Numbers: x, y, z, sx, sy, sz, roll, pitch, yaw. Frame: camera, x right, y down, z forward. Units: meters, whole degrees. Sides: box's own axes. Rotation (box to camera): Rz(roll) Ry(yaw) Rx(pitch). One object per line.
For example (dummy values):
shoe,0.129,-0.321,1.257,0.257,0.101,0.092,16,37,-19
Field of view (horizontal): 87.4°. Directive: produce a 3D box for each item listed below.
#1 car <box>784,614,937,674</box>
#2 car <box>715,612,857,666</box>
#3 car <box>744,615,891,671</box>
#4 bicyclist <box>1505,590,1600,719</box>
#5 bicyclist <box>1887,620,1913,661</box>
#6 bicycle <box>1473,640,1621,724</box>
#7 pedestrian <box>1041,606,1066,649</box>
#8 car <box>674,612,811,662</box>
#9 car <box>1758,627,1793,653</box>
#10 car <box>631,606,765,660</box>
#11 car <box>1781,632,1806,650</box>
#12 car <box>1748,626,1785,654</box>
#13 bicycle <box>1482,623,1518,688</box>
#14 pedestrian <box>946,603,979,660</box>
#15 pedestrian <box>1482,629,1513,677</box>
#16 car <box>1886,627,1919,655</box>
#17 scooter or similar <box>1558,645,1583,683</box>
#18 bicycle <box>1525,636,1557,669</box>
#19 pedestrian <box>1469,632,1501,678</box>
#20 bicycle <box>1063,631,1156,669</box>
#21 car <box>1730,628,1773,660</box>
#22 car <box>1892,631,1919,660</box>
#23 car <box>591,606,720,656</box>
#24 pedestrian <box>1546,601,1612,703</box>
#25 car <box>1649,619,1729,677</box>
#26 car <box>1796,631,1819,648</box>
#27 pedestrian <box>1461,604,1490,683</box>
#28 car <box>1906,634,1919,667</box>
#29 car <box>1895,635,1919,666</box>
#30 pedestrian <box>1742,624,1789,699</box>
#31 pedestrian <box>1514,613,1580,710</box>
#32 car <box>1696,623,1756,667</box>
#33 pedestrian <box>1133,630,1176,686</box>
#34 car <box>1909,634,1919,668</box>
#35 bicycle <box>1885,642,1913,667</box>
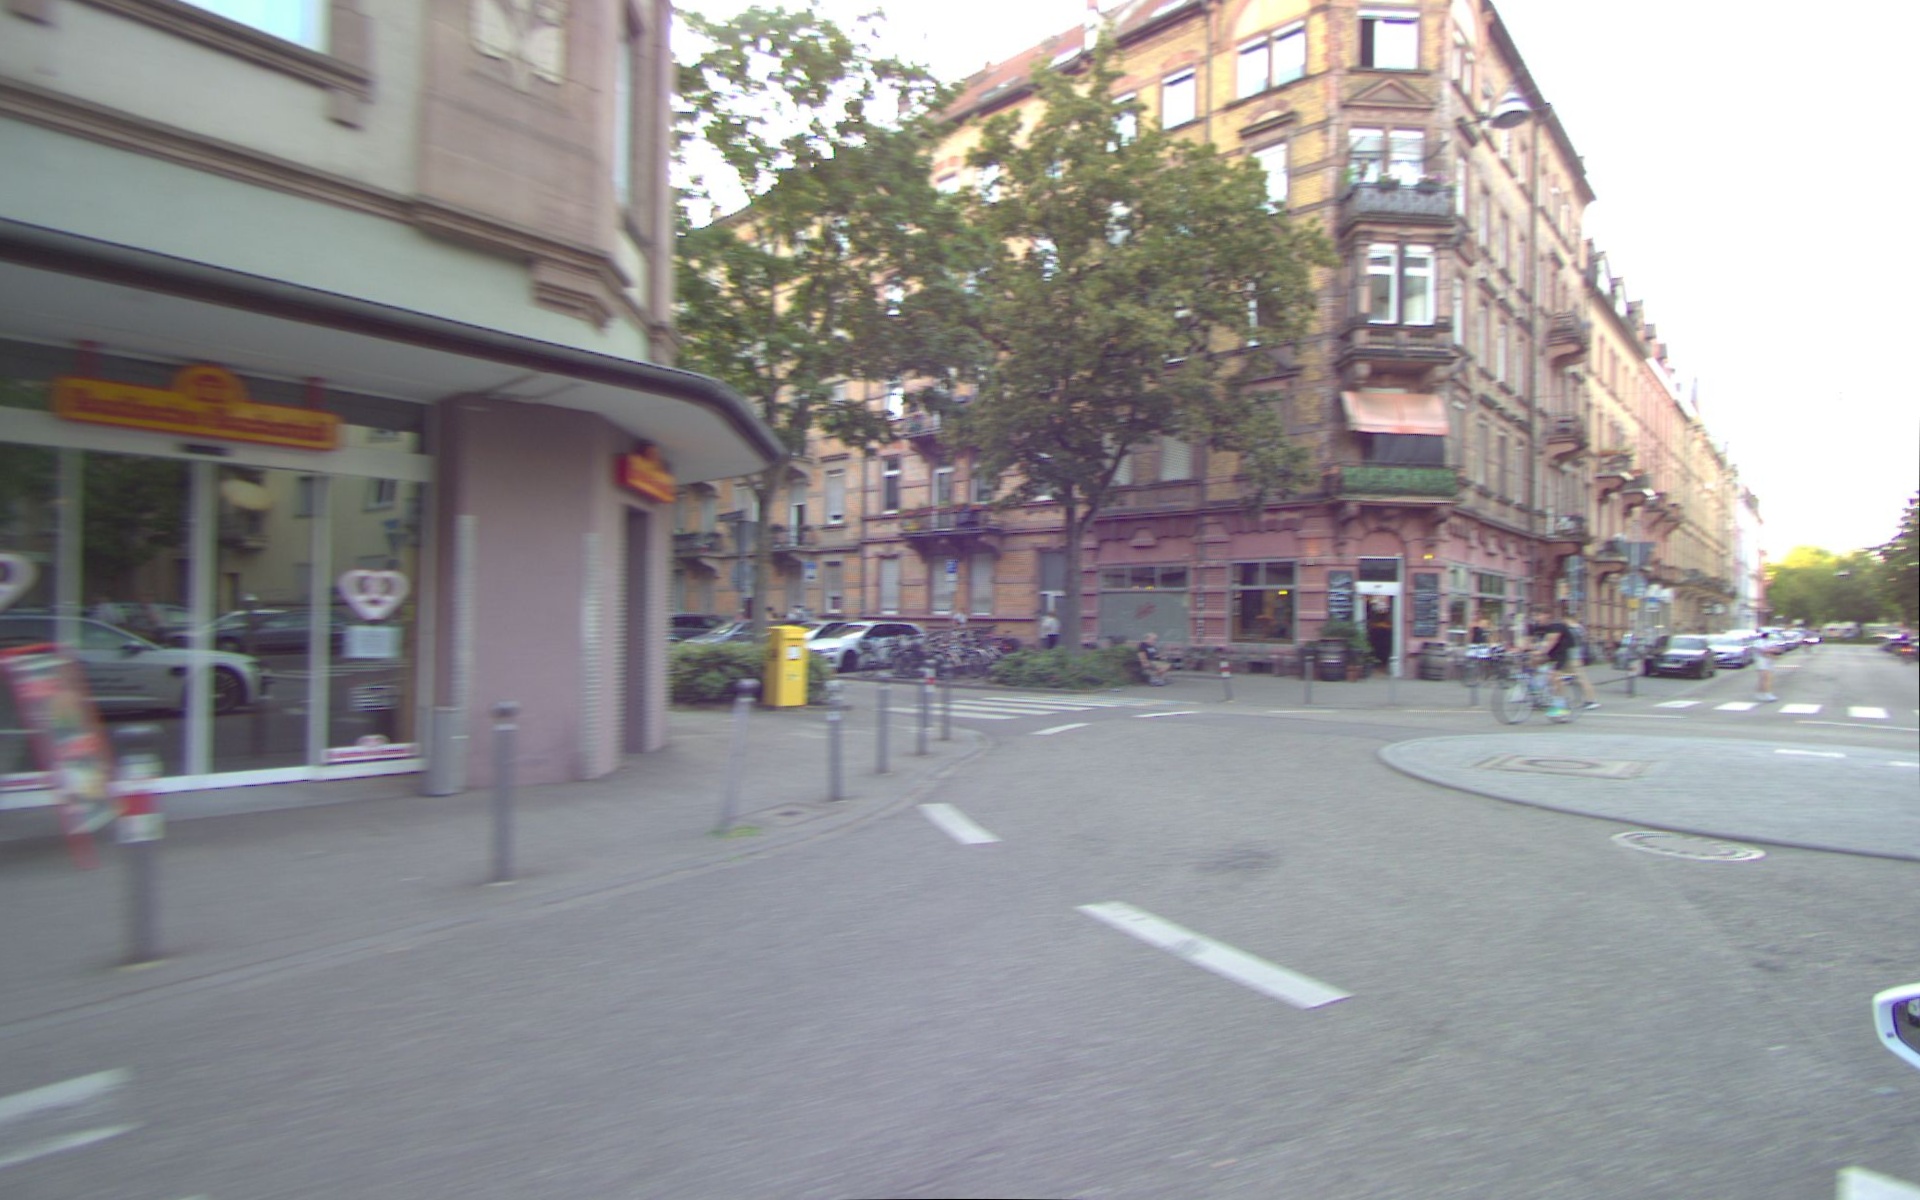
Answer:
car,-2.947,1.313,30.453,1.970,1.599,4.475,2,-1,41
car,-5.810,1.303,33.947,1.970,1.641,4.475,2,-1,41
car,-4.498,1.362,32.227,1.970,1.599,4.475,2,-1,41
bicyclist,9.029,0.812,15.340,0.864,1.901,0.838,2,0,-15
bicyclist,46.534,2.004,49.748,0.828,1.969,0.781,2,0,39
bicycle,8.934,1.242,15.311,1.904,1.187,0.838,2,0,-16
pedestrian,2.842,0.836,30.594,0.567,1.279,0.454,2,0,-23
car,-7.645,1.309,35.644,1.970,1.599,4.475,2,-1,41
car,59.668,2.902,73.460,1.813,1.773,3.980,2,-1,41
car,-9.671,1.211,37.327,1.970,1.822,4.475,2,-1,41
car,85.725,4.215,103.309,1.813,1.773,3.980,2,-1,41
car,54.412,2.673,67.743,1.813,1.773,3.980,2,-1,41
bicycle,12.829,1.297,23.828,0.418,1.462,1.897,2,0,37
pedestrian,0.068,0.984,31.861,0.659,1.748,0.916,2,0,-26
pedestrian,14.977,1.474,28.001,0.640,1.303,0.537,2,0,38
car,62.720,2.715,65.070,3.941,1.773,1.831,2,0,42
scooter or similar,16.339,1.705,26.888,0.229,0.941,1.266,2,0,17
bicycle,19.357,1.739,33.458,0.383,1.050,2.469,2,-1,42
pedestrian,14.174,1.483,27.136,0.640,1.206,0.537,2,0,38
bicycle,4.420,1.467,29.938,2.863,0.971,0.622,2,0,42
car,48.053,2.656,60.974,1.813,1.773,3.980,2,-1,41
car,60.876,2.917,62.660,3.941,1.773,1.831,2,0,42
car,-11.995,1.232,39.774,1.970,1.822,4.475,2,-1,41
pedestrian,12.058,1.004,19.580,0.888,1.910,0.616,2,0,12
car,24.626,1.597,33.876,1.813,1.773,3.980,2,-1,41
car,91.896,4.283,108.847,1.813,1.773,3.980,2,-1,41
pedestrian,12.384,1.039,24.129,0.495,1.864,0.573,2,0,19
car,54.571,2.868,55.000,3.941,1.773,1.831,2,0,42
car,58.022,3.045,59.354,3.941,1.773,1.831,2,0,42
pedestrian,18.443,1.394,22.997,0.788,1.642,0.940,2,0,40
pedestrian,11.155,1.152,19.091,0.612,1.759,0.895,2,0,-44
car,33.863,1.957,44.368,1.813,1.773,4.142,2,-1,41
pedestrian,4.658,1.369,24.027,0.745,1.279,0.664,2,0,42
car,53.141,2.795,53.292,3.941,1.773,1.831,2,0,42
bicycle,46.602,2.683,49.868,0.828,1.187,1.928,2,0,39
